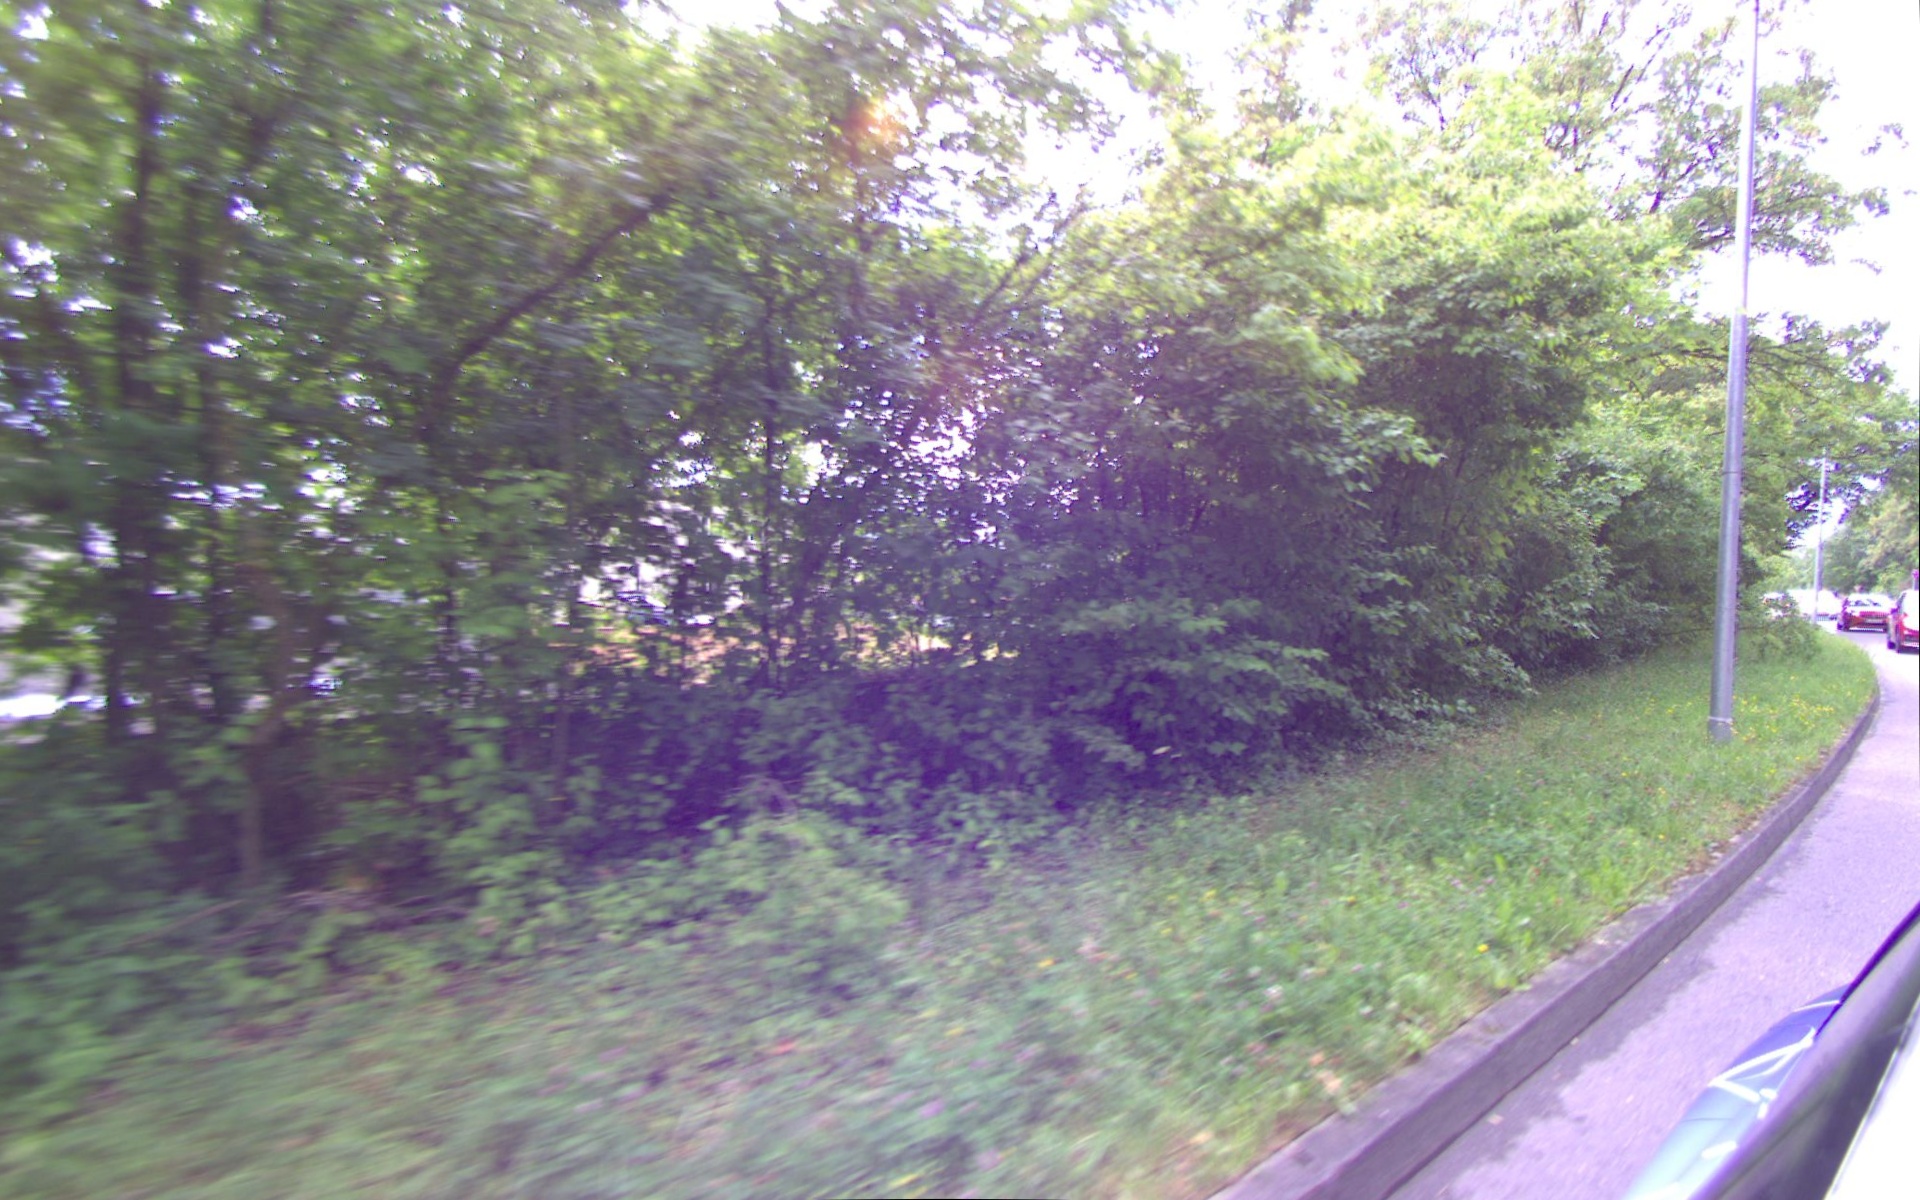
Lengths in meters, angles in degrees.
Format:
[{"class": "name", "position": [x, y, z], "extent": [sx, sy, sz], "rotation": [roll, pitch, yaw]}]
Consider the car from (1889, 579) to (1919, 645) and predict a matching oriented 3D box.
[{"class": "car", "position": [25.986, 0.316, 26.580], "extent": [1.852, 1.638, 4.416], "rotation": [1, 1, 37]}]

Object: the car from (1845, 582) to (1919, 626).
[{"class": "car", "position": [37.041, 0.136, 40.651], "extent": [1.991, 1.593, 3.944], "rotation": [4, 2, 38]}]

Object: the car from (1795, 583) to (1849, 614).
[{"class": "car", "position": [48.278, -0.084, 56.755], "extent": [1.911, 1.616, 3.847], "rotation": [4, 2, 36]}]
